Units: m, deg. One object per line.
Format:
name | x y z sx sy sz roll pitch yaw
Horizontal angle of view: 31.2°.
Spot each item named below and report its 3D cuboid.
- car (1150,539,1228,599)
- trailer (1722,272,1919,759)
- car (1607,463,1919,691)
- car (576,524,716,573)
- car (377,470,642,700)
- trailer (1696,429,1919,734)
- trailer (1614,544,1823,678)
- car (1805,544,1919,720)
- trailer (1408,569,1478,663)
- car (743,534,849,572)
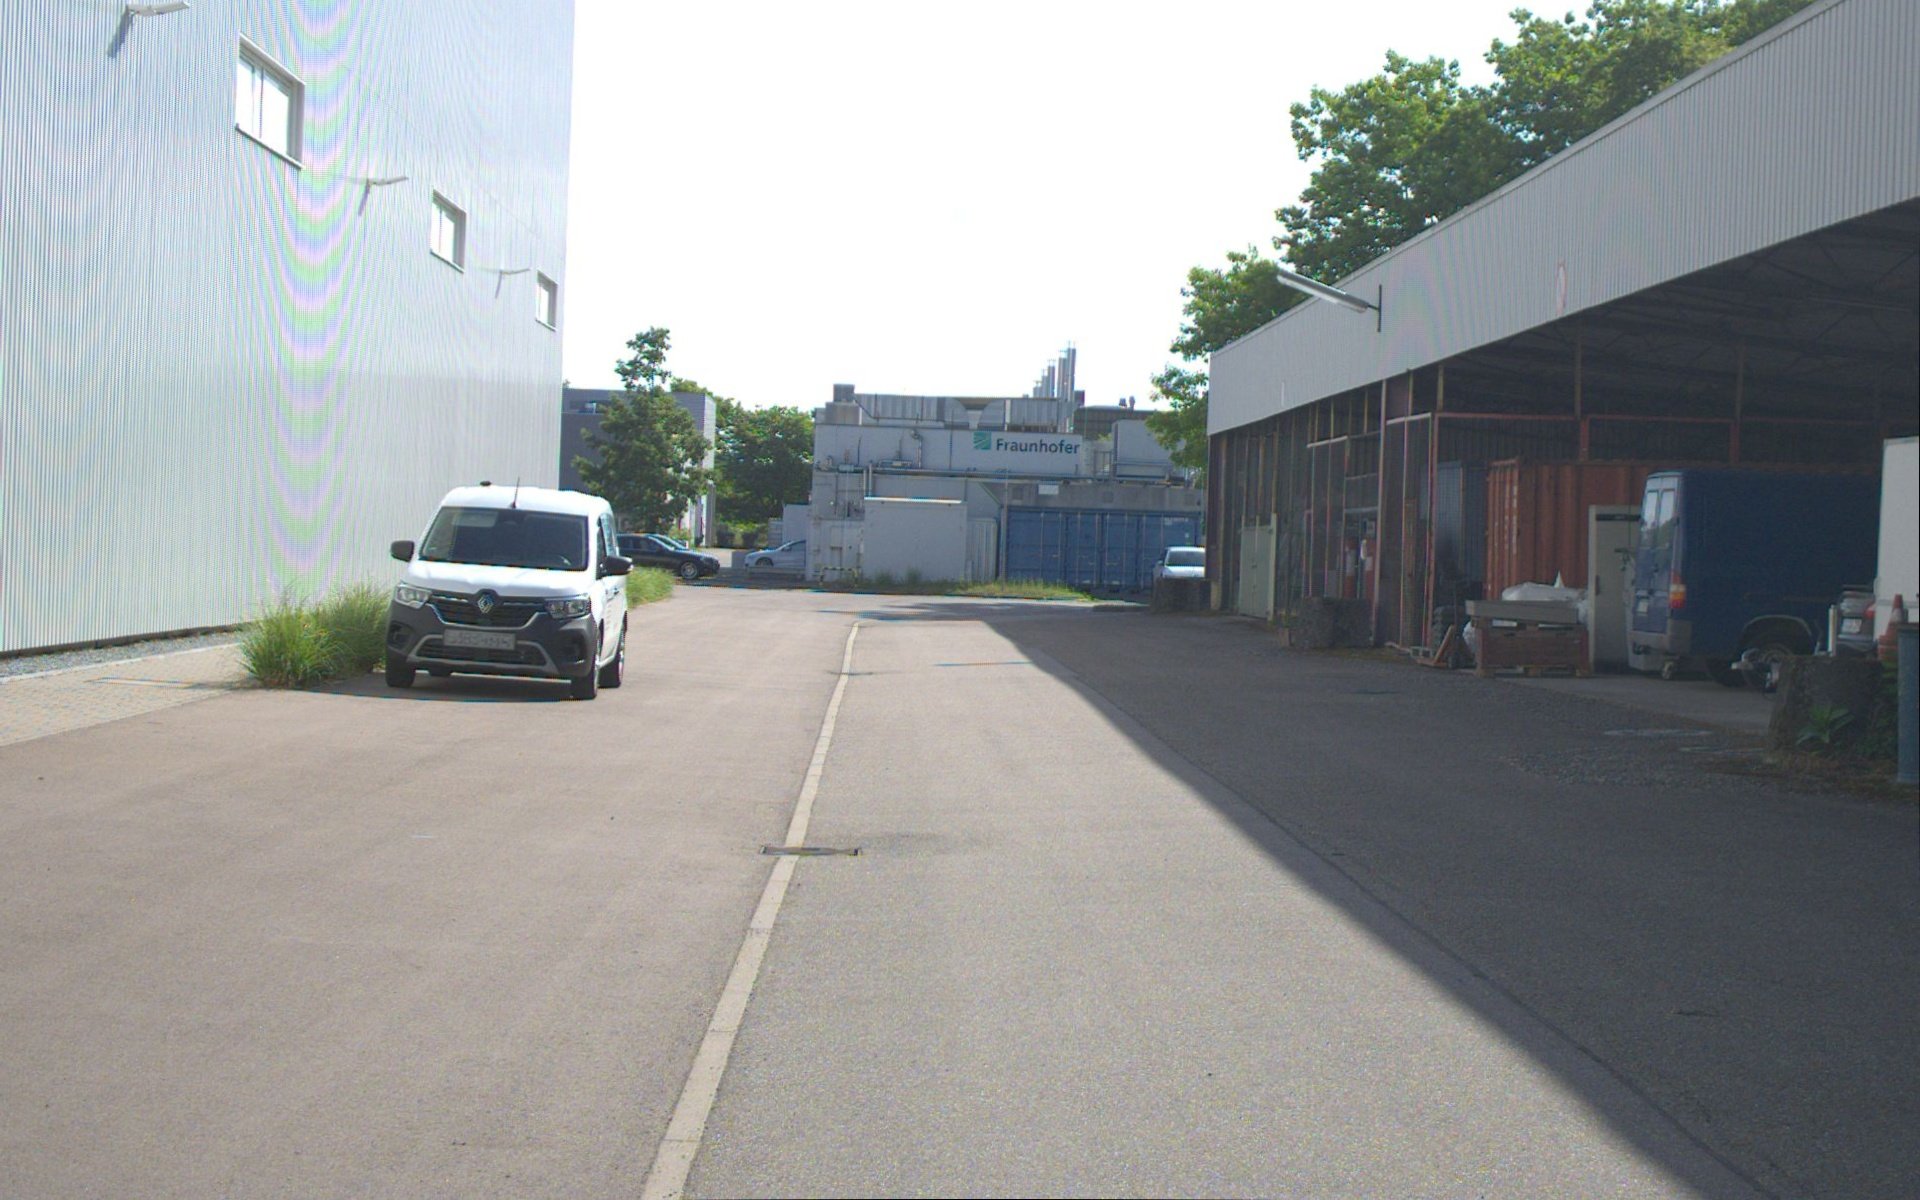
car | 6.667 -0.926 100.570 1.979 1.597 4.377 1 2 0
trailer | 11.014 -0.562 25.029 10.267 3.331 2.801 1 1 -1
car | 9.746 -0.217 36.312 5.332 2.273 2.153 1 0 -2
car | -10.285 -1.678 112.771 4.447 1.526 1.824 1 0 -1
car | -3.965 -0.151 30.907 1.783 1.809 4.602 3 0 -1
trailer | 8.378 -0.140 27.495 4.516 2.334 2.047 1 0 0
trailer | 8.556 0.107 38.914 2.038 1.461 1.738 1 1 3
car | 9.790 0.299 30.080 4.247 1.466 1.870 1 1 -4
trailer | 5.893 0.186 41.986 0.551 1.114 1.547 0 1 -3
car | -6.701 -1.924 140.724 4.302 1.452 1.824 1 1 -1
